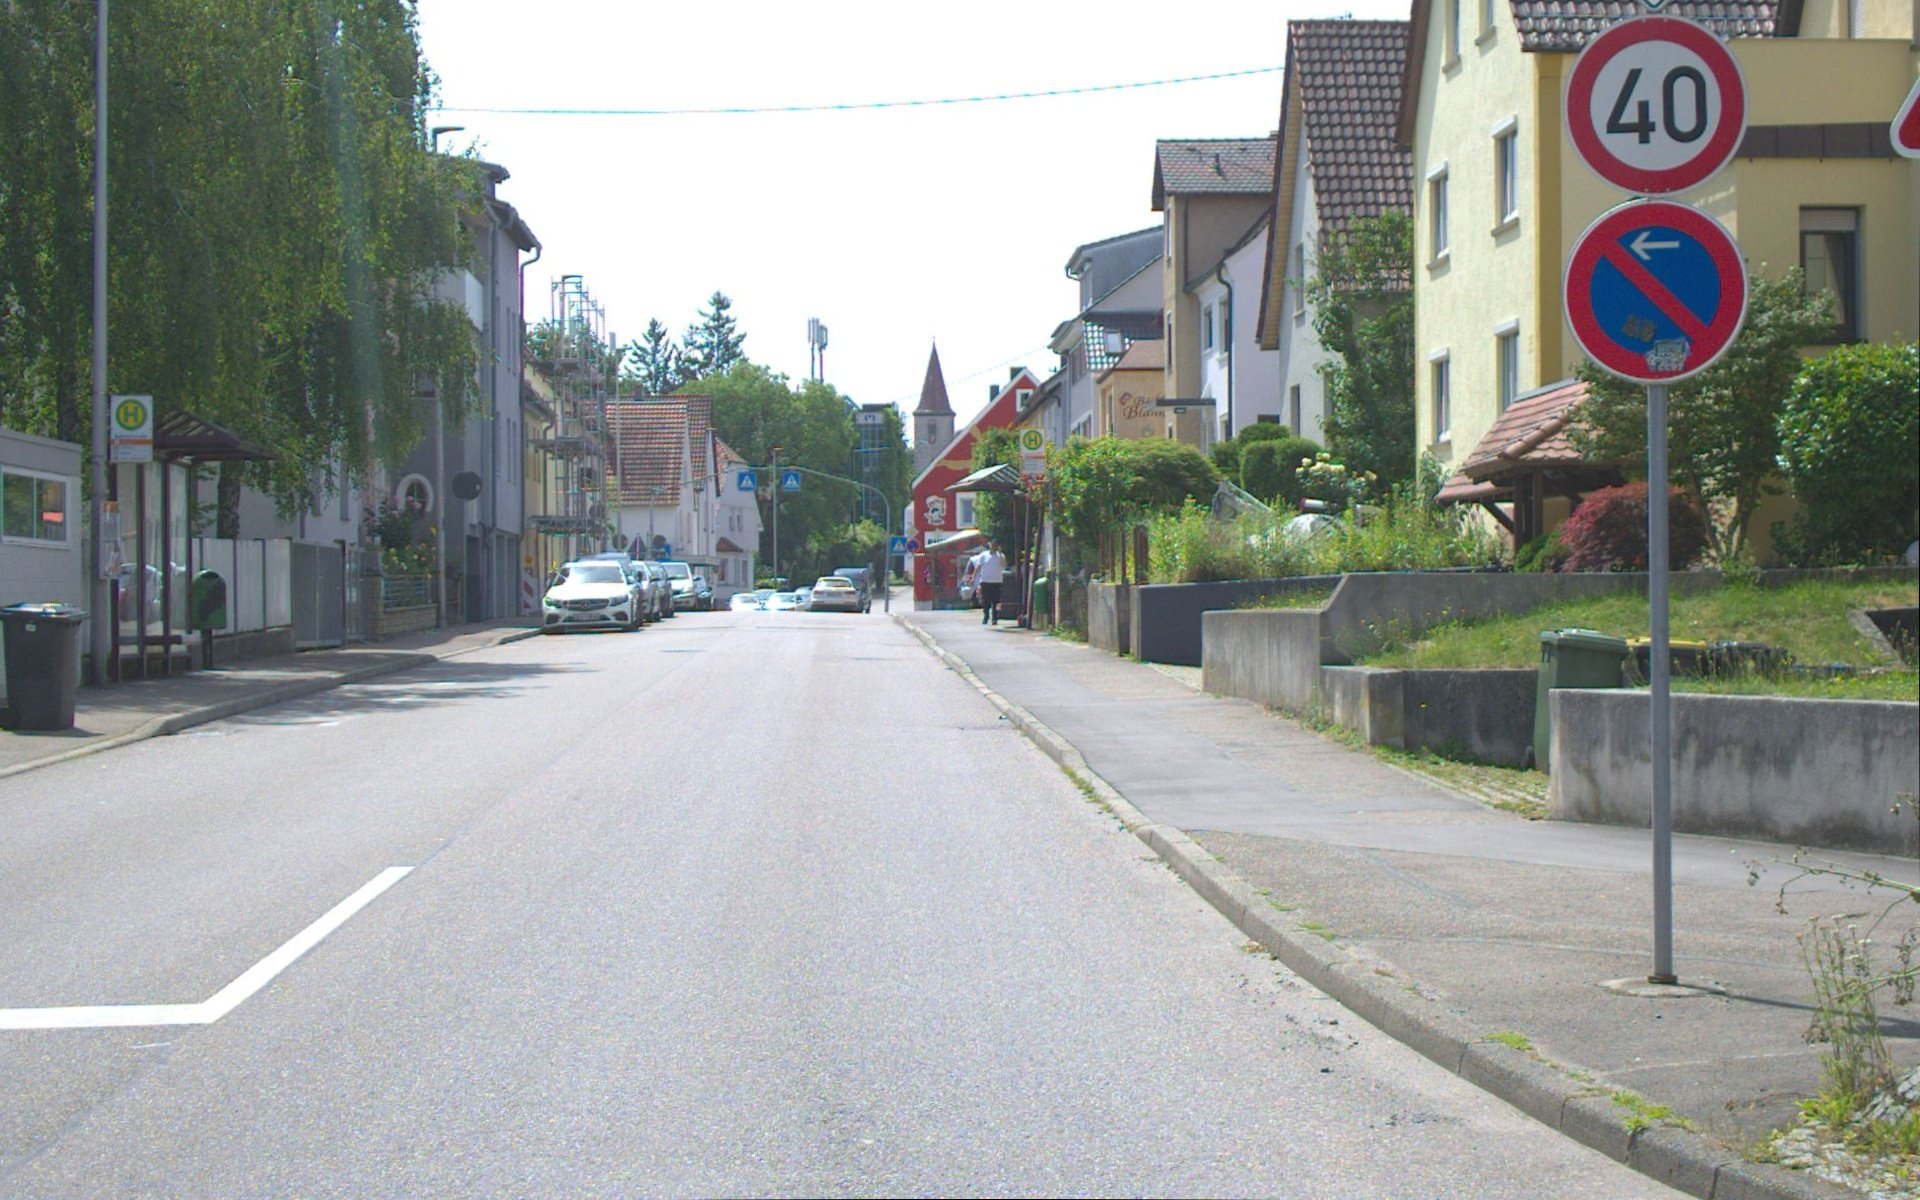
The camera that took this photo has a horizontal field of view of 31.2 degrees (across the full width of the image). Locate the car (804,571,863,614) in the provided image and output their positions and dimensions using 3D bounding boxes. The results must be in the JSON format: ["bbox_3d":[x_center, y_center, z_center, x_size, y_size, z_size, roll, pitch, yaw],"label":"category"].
[{"bbox_3d":[-4.858,-0.290,131.307,1.993,1.555,4.315,-1,1,-5],"label":"car"}]

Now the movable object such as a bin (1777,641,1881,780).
[{"bbox_3d":[6.334,0.799,25.083,0.528,0.948,0.564,5,1,-2],"label":"movable object such as a bin"}]

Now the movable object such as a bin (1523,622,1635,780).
[{"bbox_3d":[4.494,0.723,24.981,0.583,1.075,0.734,4,1,-2],"label":"movable object such as a bin"}]

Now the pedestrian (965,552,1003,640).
[{"bbox_3d":[0.478,-0.088,68.746,0.646,1.724,0.608,-3,1,-2],"label":"pedestrian"}]

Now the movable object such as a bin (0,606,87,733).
[{"bbox_3d":[-7.891,0.593,29.558,0.607,1.042,0.725,0,2,-2],"label":"movable object such as a bin"}]

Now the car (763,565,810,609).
[{"bbox_3d":[-8.172,-0.634,162.174,1.993,2.007,4.000,-1,1,0],"label":"car"}]

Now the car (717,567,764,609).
[{"bbox_3d":[-10.701,-0.596,167.956,1.993,2.007,4.000,-1,1,0],"label":"car"}]

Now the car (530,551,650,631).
[{"bbox_3d":[-7.606,-0.218,71.090,2.110,1.555,4.314,-1,1,-1],"label":"car"}]

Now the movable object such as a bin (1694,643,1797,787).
[{"bbox_3d":[5.715,0.832,25.034,0.528,0.986,0.564,5,1,-2],"label":"movable object such as a bin"}]

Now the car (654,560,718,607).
[{"bbox_3d":[-9.558,-0.588,120.311,1.993,1.555,4.314,-1,1,-1],"label":"car"}]

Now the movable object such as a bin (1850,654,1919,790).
[{"bbox_3d":[6.889,0.896,25.172,0.528,0.948,0.564,3,1,-2],"label":"movable object such as a bin"}]

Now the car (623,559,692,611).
[{"bbox_3d":[-9.380,-0.488,106.976,1.993,1.555,4.314,-1,1,-3],"label":"car"}]

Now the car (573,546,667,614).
[{"bbox_3d":[-8.110,-0.503,82.335,1.993,1.555,4.314,-1,1,-2],"label":"car"}]

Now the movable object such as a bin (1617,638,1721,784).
[{"bbox_3d":[5.159,0.799,25.024,0.528,0.986,0.564,6,1,-2],"label":"movable object such as a bin"}]
